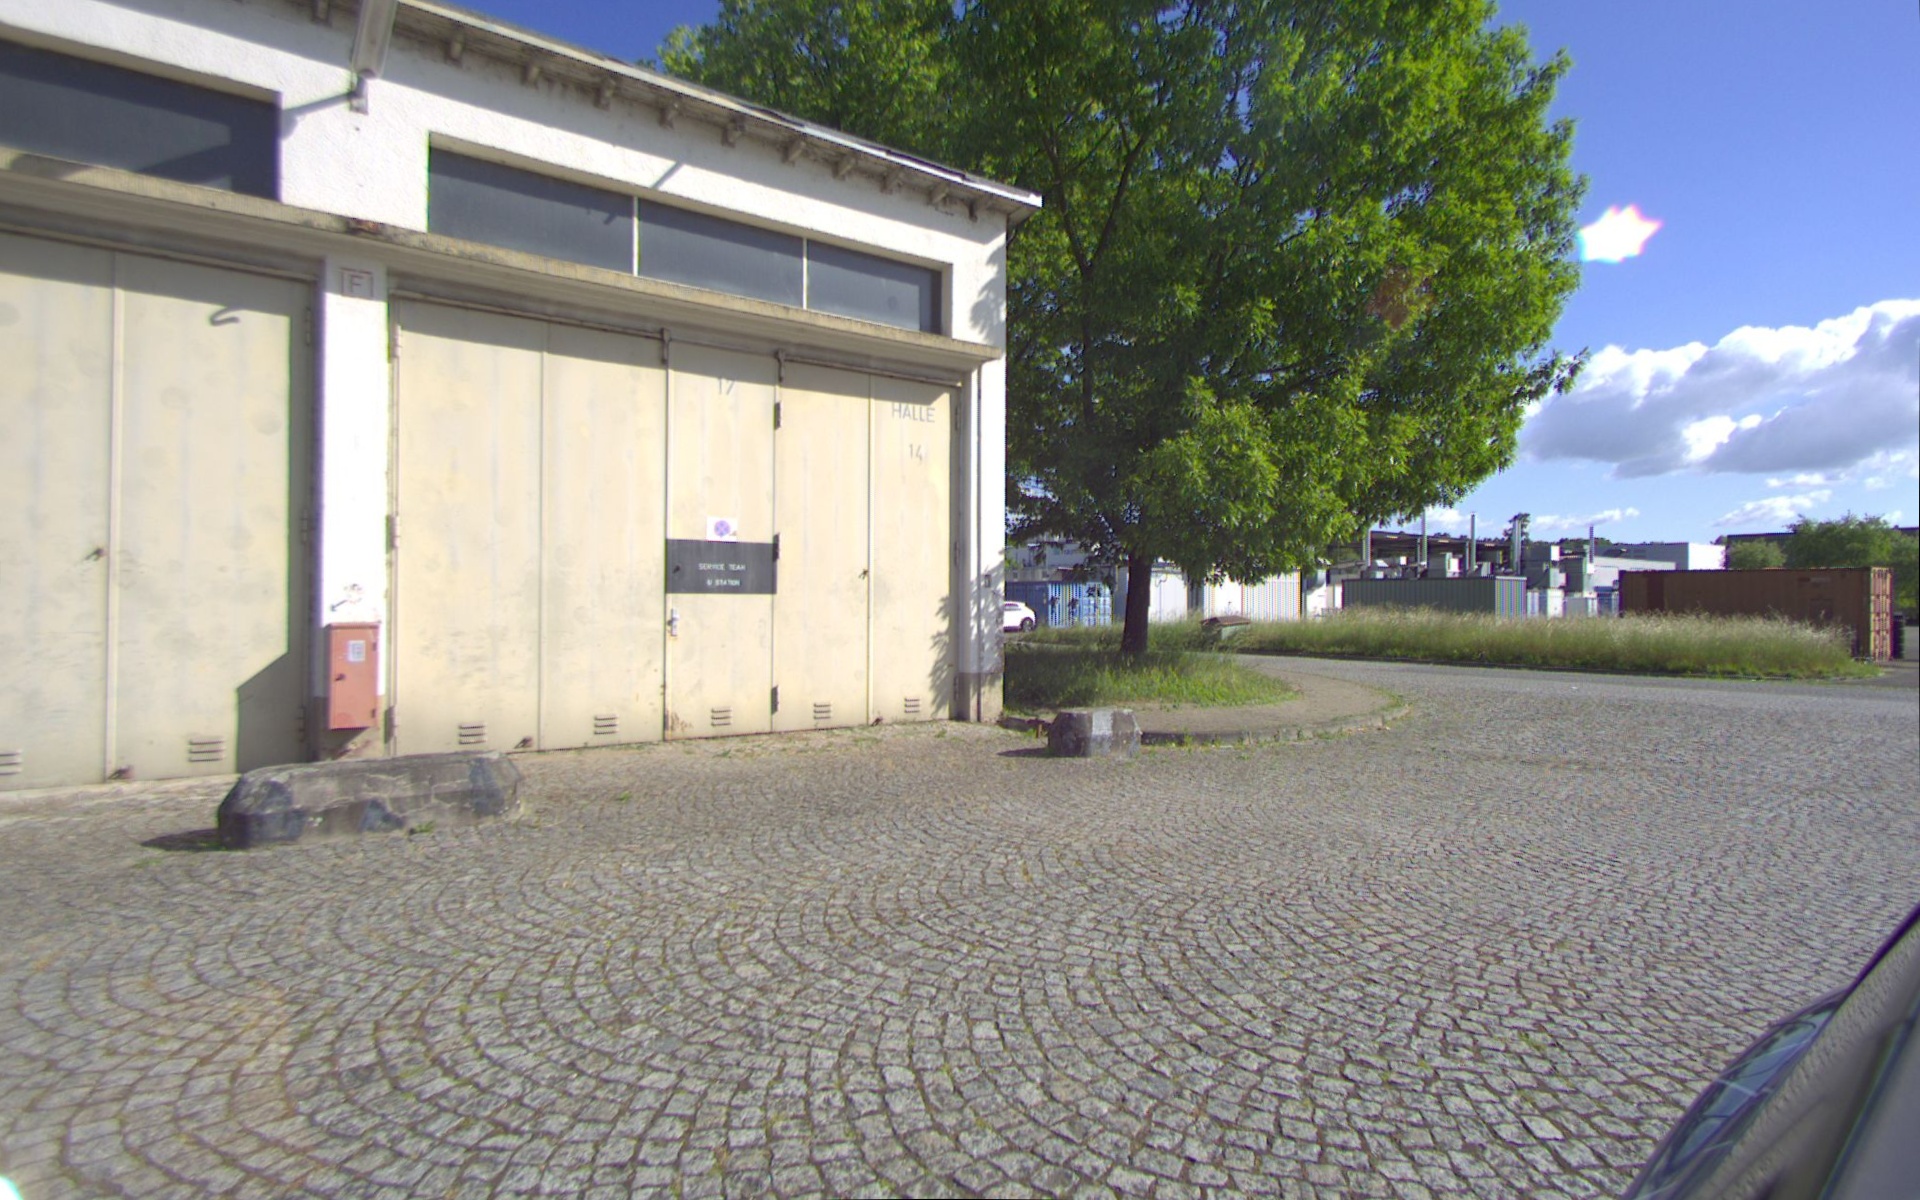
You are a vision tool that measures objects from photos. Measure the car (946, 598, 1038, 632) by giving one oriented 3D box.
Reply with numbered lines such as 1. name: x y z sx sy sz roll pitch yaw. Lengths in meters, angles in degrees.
1. car: 1.658 0.737 51.610 4.516 1.699 1.874 0 0 -36
